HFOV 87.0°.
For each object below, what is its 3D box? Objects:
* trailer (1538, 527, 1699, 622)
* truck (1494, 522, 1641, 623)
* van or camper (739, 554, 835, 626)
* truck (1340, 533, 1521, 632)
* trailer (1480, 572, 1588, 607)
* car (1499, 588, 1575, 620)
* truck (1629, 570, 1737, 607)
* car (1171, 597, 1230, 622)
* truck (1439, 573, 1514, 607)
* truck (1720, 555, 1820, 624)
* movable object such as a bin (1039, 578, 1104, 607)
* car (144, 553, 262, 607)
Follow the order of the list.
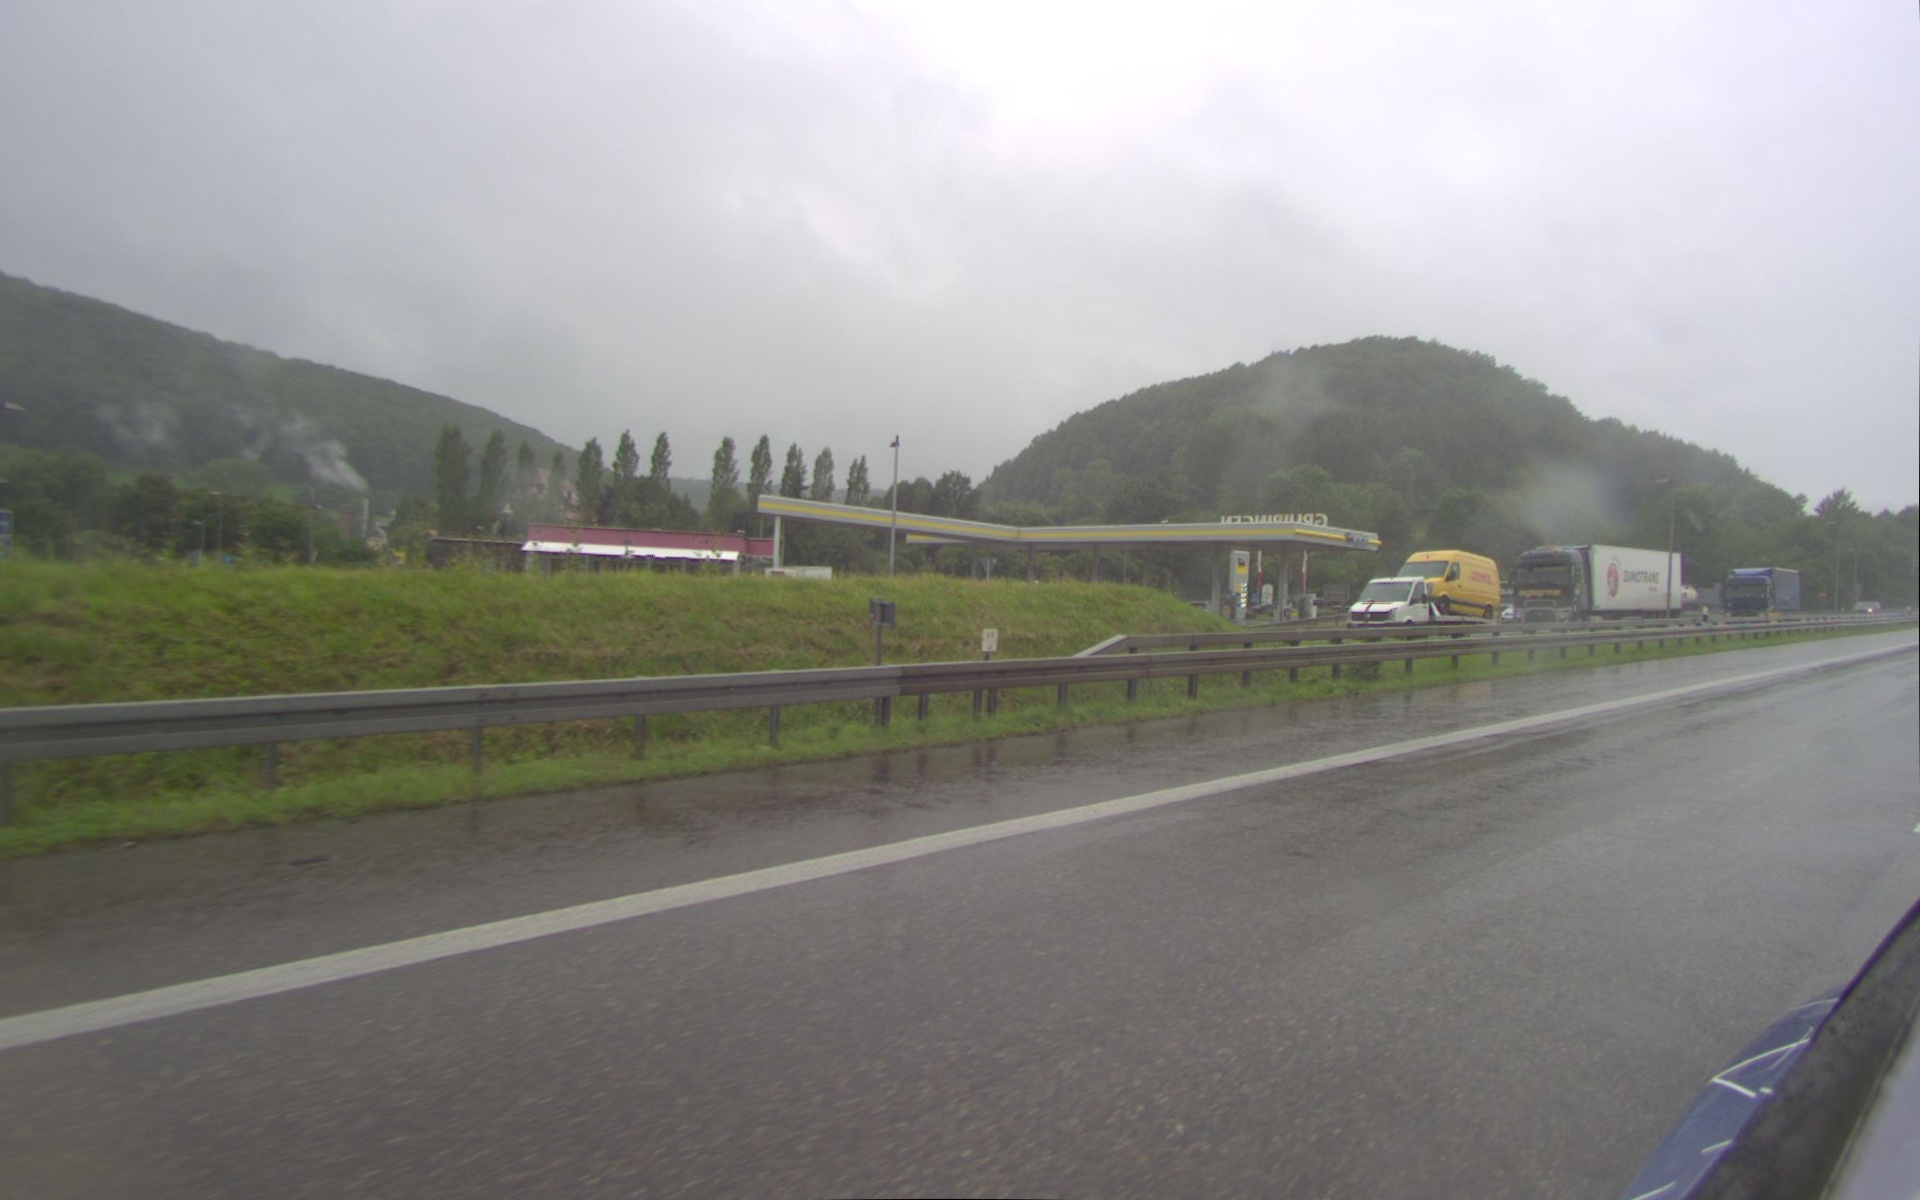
[{"bbox_3d":[33.425,-1.194,51.099,11.708,4.315,3.523,0,0,-40],"label":"trailer"},{"bbox_3d":[28.035,-1.184,46.548,7.678,4.273,3.534,0,0,-40],"label":"truck"},{"bbox_3d":[-7.829,-0.441,46.494,1.971,3.098,6.144,0,0,15],"label":"van or camper"},{"bbox_3d":[17.018,-0.592,36.262,8.703,3.187,2.296,0,0,-39],"label":"truck"},{"bbox_3d":[67.449,-1.219,118.952,11.513,3.950,2.796,0,0,-6],"label":"trailer"},{"bbox_3d":[33.050,0.192,57.891,5.563,1.772,1.997,0,0,-41],"label":"car"},{"bbox_3d":[86.826,-1.405,121.563,11.629,4.310,2.884,0,0,-8],"label":"truck"},{"bbox_3d":[16.921,0.647,71.076,4.024,1.719,1.998,0,0,-39],"label":"car"},{"bbox_3d":[60.290,-1.184,118.240,7.382,3.916,2.760,0,0,-6],"label":"truck"},{"bbox_3d":[56.304,-0.674,70.193,10.853,4.458,3.407,0,-1,-40],"label":"truck"},{"bbox_3d":[9.055,-0.611,81.786,5.625,2.217,1.996,0,0,-41],"label":"movable object such as a bin"},{"bbox_3d":[-30.563,-0.803,41.013,1.961,2.039,4.003,0,1,-4],"label":"car"}]
